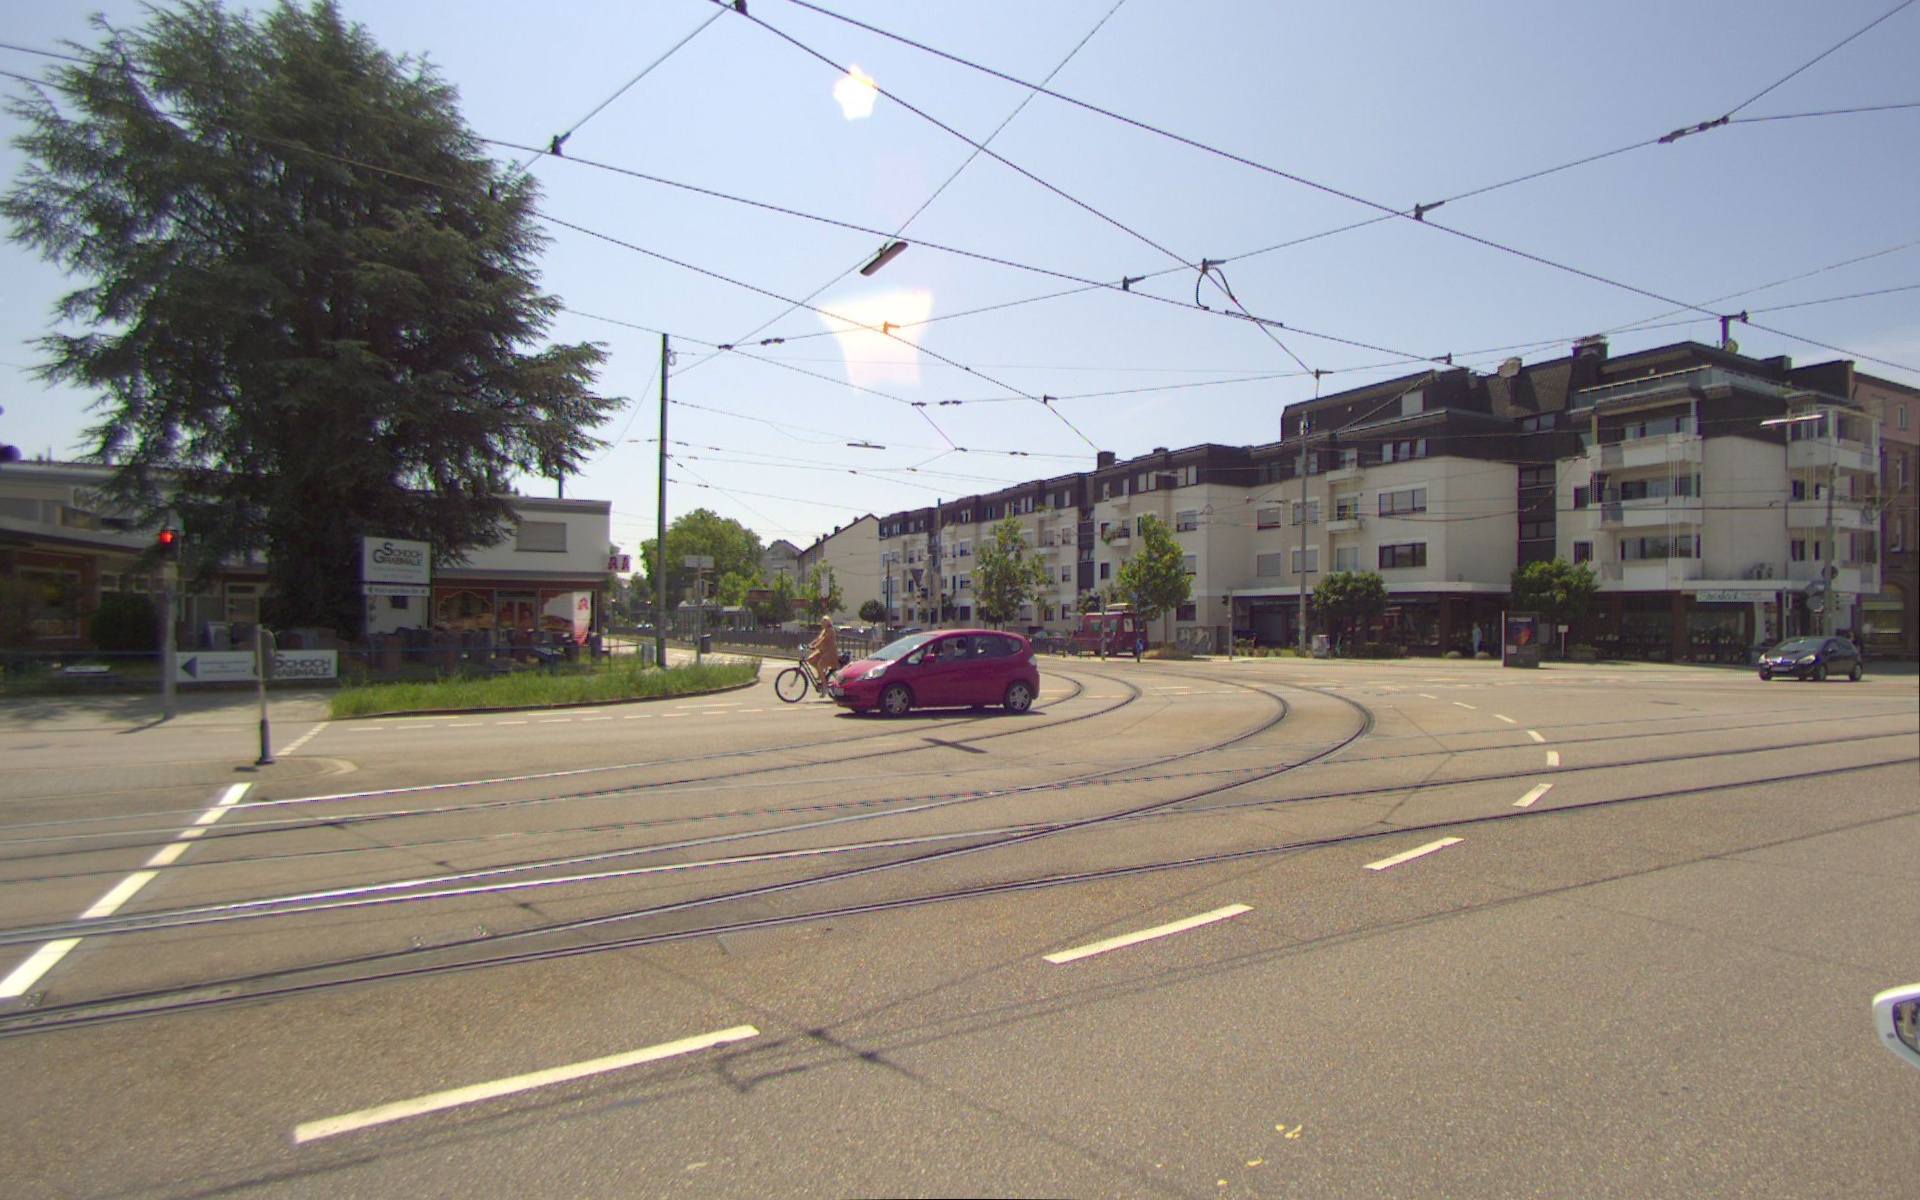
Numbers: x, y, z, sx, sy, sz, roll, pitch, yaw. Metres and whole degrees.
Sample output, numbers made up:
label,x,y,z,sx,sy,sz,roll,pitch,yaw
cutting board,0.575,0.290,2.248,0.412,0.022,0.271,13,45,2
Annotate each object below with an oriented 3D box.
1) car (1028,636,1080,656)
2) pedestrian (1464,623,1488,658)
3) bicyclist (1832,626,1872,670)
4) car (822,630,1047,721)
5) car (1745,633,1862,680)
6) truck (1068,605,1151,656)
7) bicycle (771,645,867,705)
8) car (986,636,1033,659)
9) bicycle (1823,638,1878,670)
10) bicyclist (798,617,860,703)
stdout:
label,x,y,z,sx,sy,sz,roll,pitch,yaw
car,5.825,2.850,62.592,1.570,1.235,3.556,1,-2,-27
pedestrian,25.578,2.009,49.786,0.795,1.719,0.698,1,-1,-20
bicyclist,37.133,1.996,41.801,1.116,1.786,0.732,0,-2,-15
car,-0.432,1.294,18.191,3.782,1.503,1.617,1,-2,-29
car,28.345,1.859,33.728,3.816,1.457,1.703,1,-2,-28
truck,8.455,1.741,57.378,2.159,2.734,5.007,1,-2,-28
bicycle,-2.976,1.564,21.299,1.908,1.164,0.691,0,-1,-30
car,3.260,3.130,66.849,1.570,1.452,3.556,1,-2,-27
bicycle,37.021,2.241,41.752,2.070,1.322,0.677,0,-2,-15
bicyclist,-2.788,1.255,21.388,1.123,1.789,0.691,0,-1,-30
